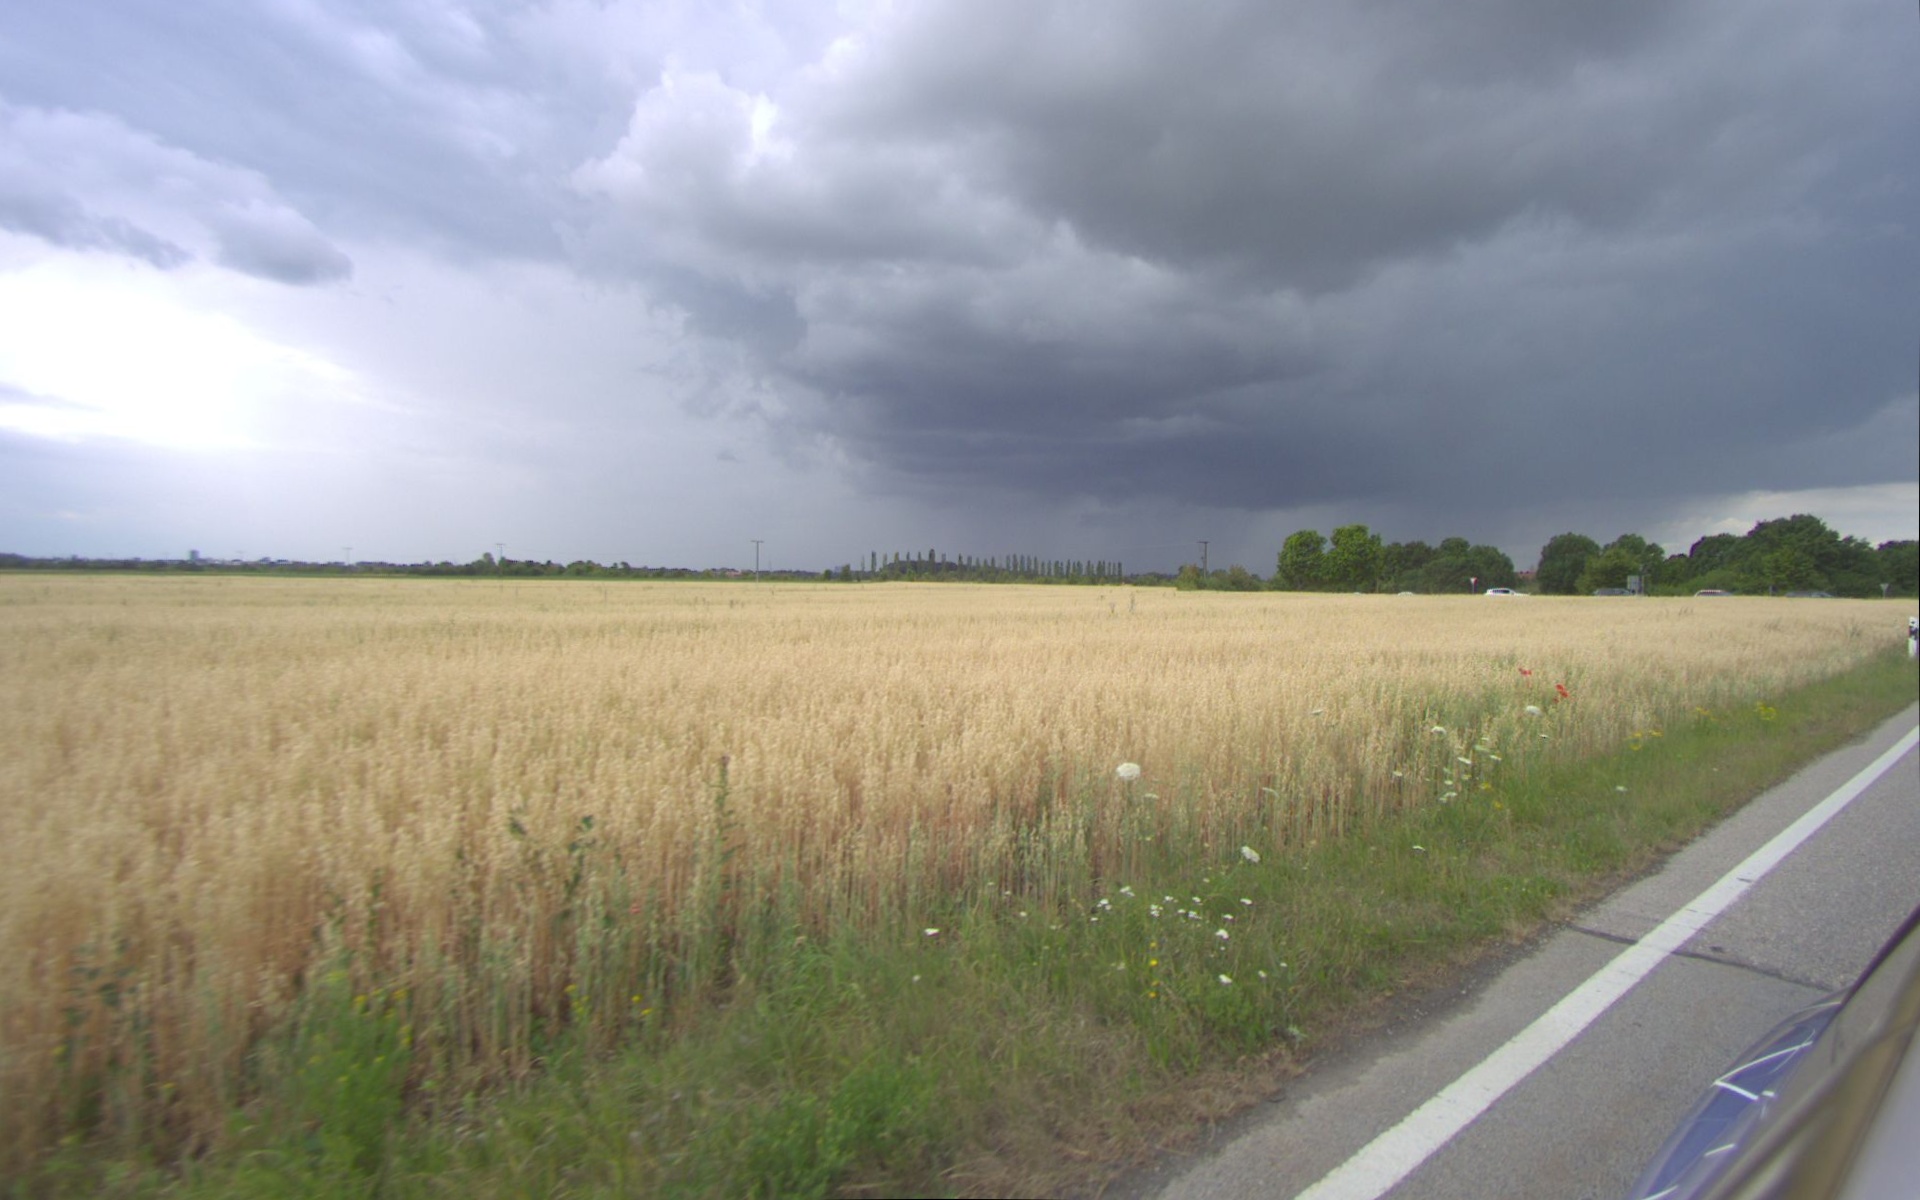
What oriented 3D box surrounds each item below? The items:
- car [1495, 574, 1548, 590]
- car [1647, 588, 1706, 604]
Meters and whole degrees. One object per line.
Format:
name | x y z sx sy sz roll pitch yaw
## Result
car | 59.534 -1.907 107.330 1.690 1.512 4.639 -2 3 -36
car | 67.917 -0.425 95.984 1.690 1.370 4.214 0 2 -36
